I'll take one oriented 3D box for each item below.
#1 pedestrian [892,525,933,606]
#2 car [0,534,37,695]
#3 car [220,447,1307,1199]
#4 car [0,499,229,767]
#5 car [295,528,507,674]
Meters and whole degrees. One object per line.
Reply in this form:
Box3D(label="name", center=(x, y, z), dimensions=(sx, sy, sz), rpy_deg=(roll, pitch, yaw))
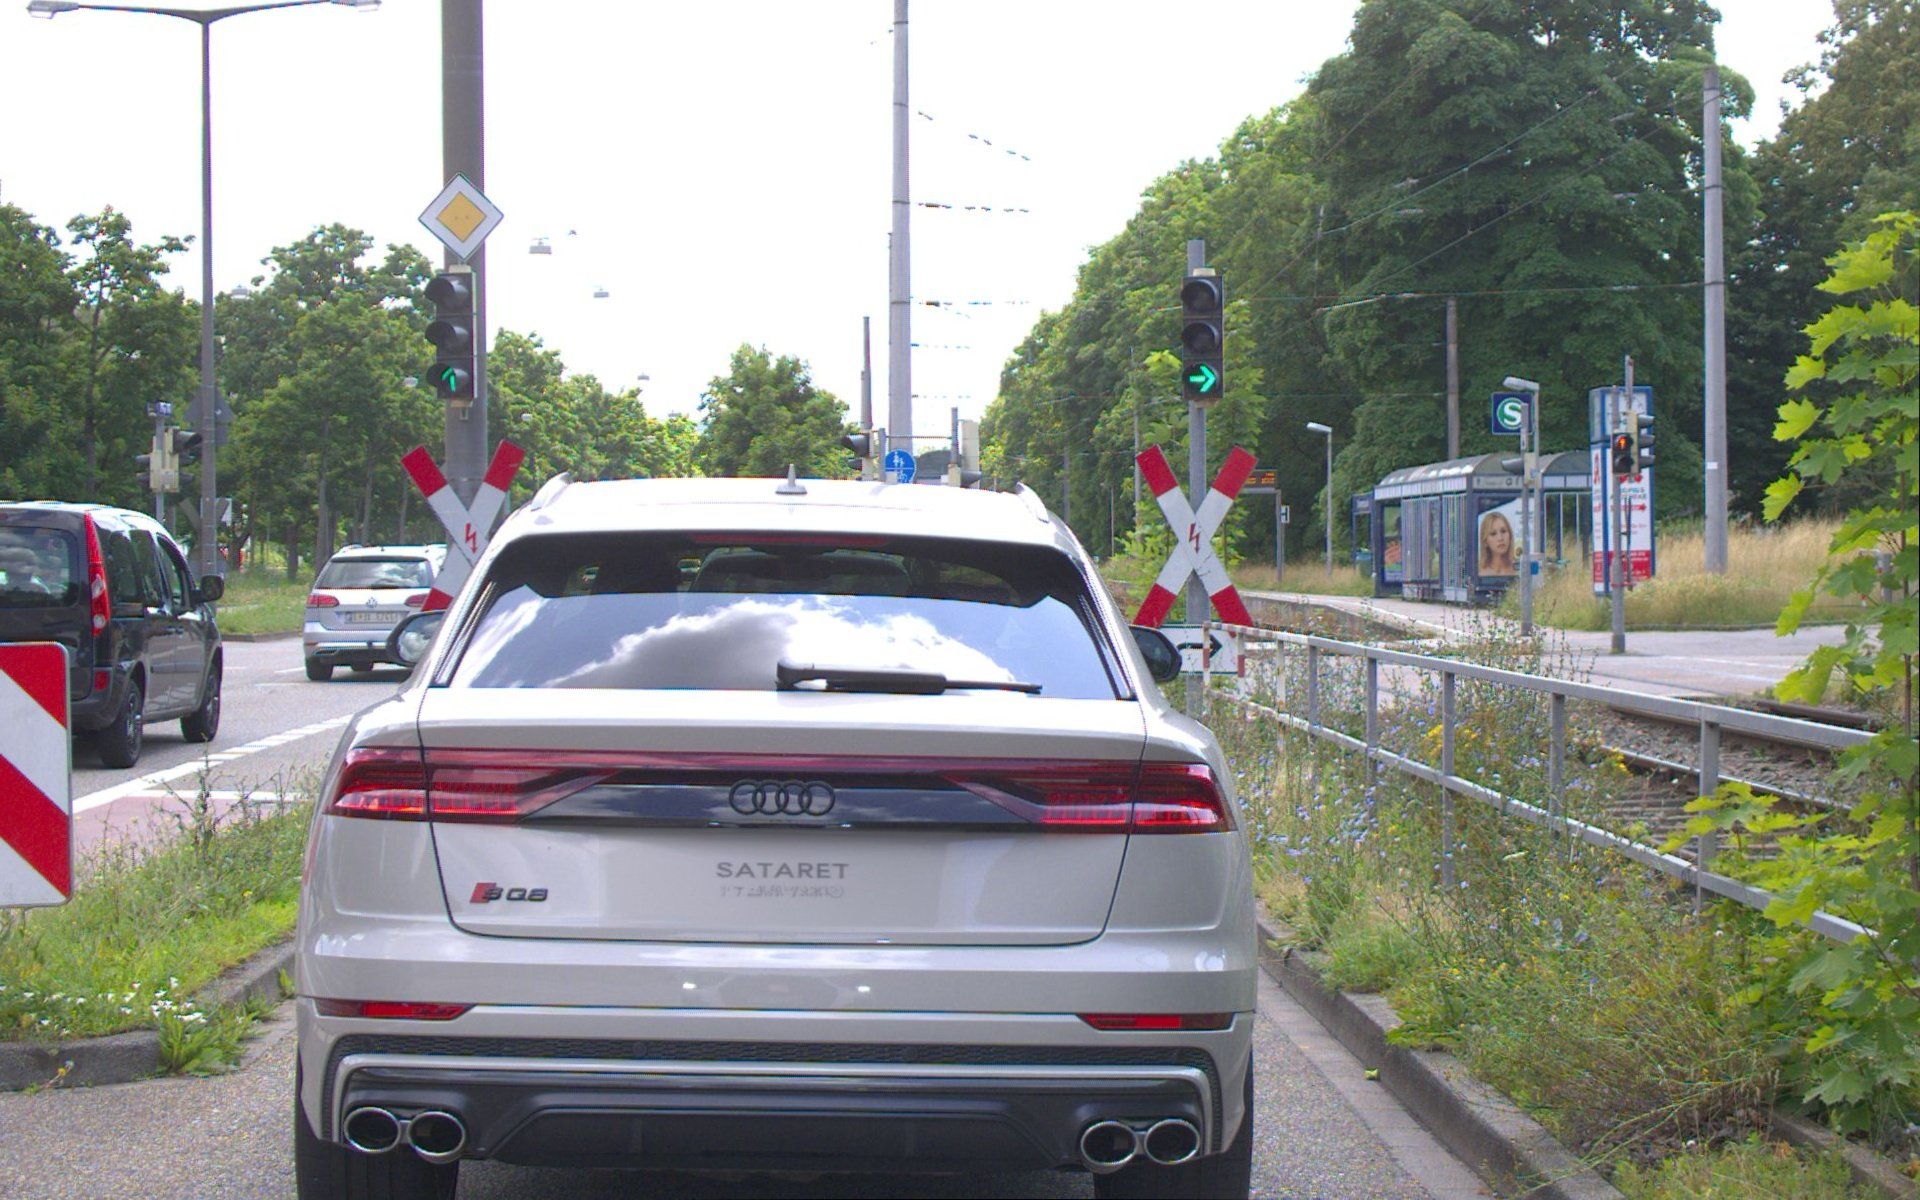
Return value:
Box3D(label="pedestrian", center=(-0.896, -0.652, 64.782), dimensions=(0.653, 1.508, 0.718), rpy_deg=(-1, 1, -10))
Box3D(label="car", center=(-9.852, 0.126, 31.588), dimensions=(1.864, 1.499, 4.001), rpy_deg=(1, 1, -3))
Box3D(label="car", center=(-0.388, 0.549, 8.614), dimensions=(1.981, 1.678, 4.574), rpy_deg=(1, 1, -1))
Box3D(label="car", center=(-6.500, 0.195, 24.809), dimensions=(1.759, 1.771, 3.909), rpy_deg=(1, 1, -3))
Box3D(label="car", center=(-6.182, -0.012, 38.439), dimensions=(1.785, 1.520, 4.301), rpy_deg=(1, 1, -2))
